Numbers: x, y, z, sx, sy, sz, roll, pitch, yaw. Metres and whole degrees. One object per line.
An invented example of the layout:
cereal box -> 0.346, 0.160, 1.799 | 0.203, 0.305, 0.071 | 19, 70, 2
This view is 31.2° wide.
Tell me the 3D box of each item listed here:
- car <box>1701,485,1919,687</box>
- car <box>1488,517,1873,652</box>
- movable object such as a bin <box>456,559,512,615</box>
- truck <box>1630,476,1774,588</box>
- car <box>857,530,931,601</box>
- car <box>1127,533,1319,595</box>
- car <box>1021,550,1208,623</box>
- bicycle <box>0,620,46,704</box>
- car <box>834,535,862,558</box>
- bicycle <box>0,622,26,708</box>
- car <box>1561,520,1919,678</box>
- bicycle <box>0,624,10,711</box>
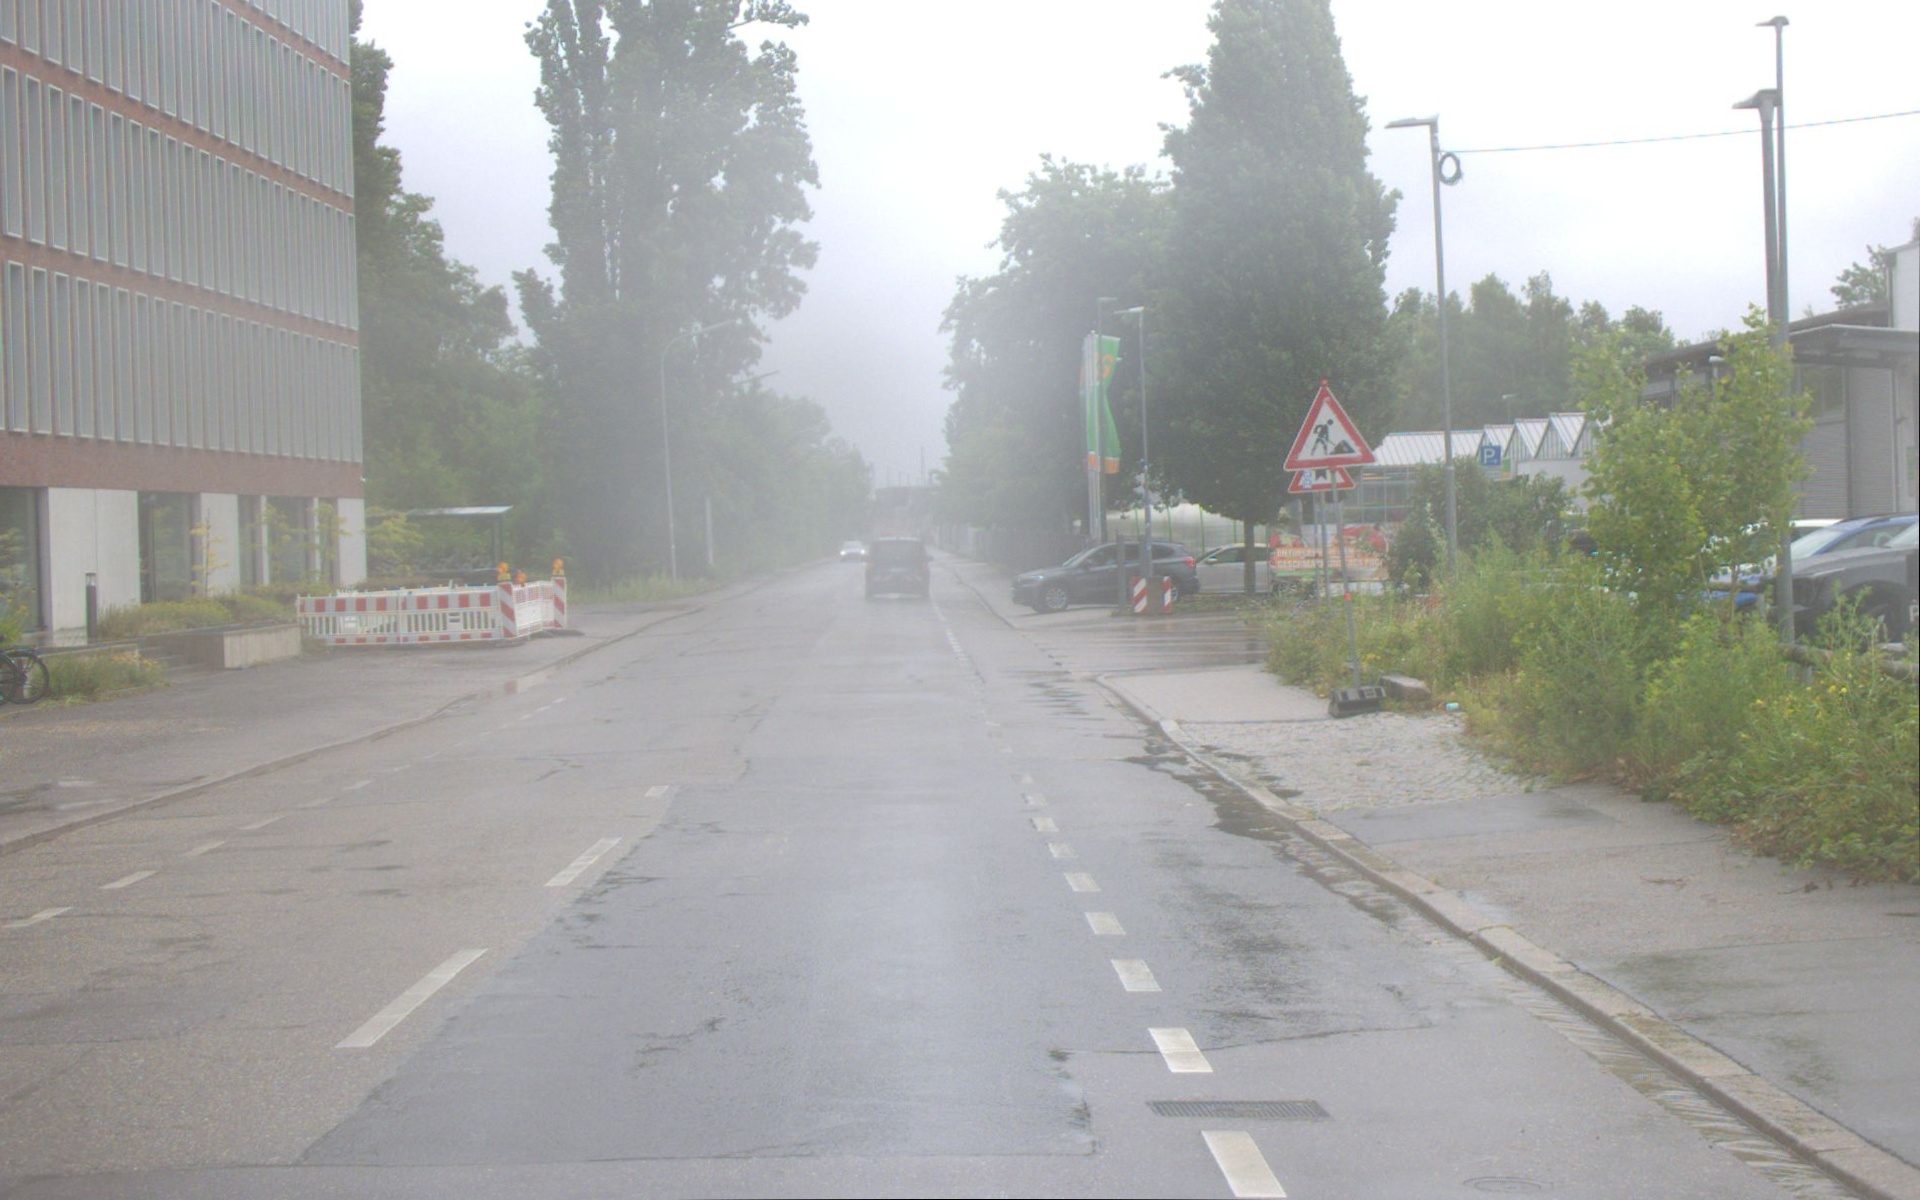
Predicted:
car -> 9.355, -0.187, 31.527 | 4.681, 1.729, 2.128 | -3, 0, 4
car -> 8.569, -0.175, 41.152 | 4.181, 1.504, 1.890 | -1, 0, 0
movable object such as a bin -> -11.608, -0.319, 83.933 | 1.295, 1.304, 1.449 | -2, 1, -7
truck -> 19.155, -1.781, 89.150 | 2.301, 2.650, 7.416 | -3, 1, 3
car -> -1.908, -0.979, 98.156 | 1.993, 1.904, 4.201 | -2, 1, -2
car -> 6.713, -0.930, 88.090 | 4.702, 1.457, 1.891 | -1, 1, -2
car -> 3.622, -0.331, 81.027 | 4.135, 1.563, 1.765 | -2, 0, -7
bicycle -> -12.835, 0.797, 44.503 | 1.859, 1.073, 0.544 | 0, 1, -1
car -> -7.841, -3.747, 240.435 | 1.733, 1.445, 4.381 | -4, 1, 0
bicycle -> -12.860, 0.825, 43.636 | 1.859, 1.073, 0.544 | 0, 1, -1
car -> 8.463, -0.013, 35.117 | 4.295, 1.512, 1.819 | -1, 0, 0
bicycle -> -12.822, 0.838, 42.759 | 1.859, 1.073, 0.544 | 0, 1, -1
